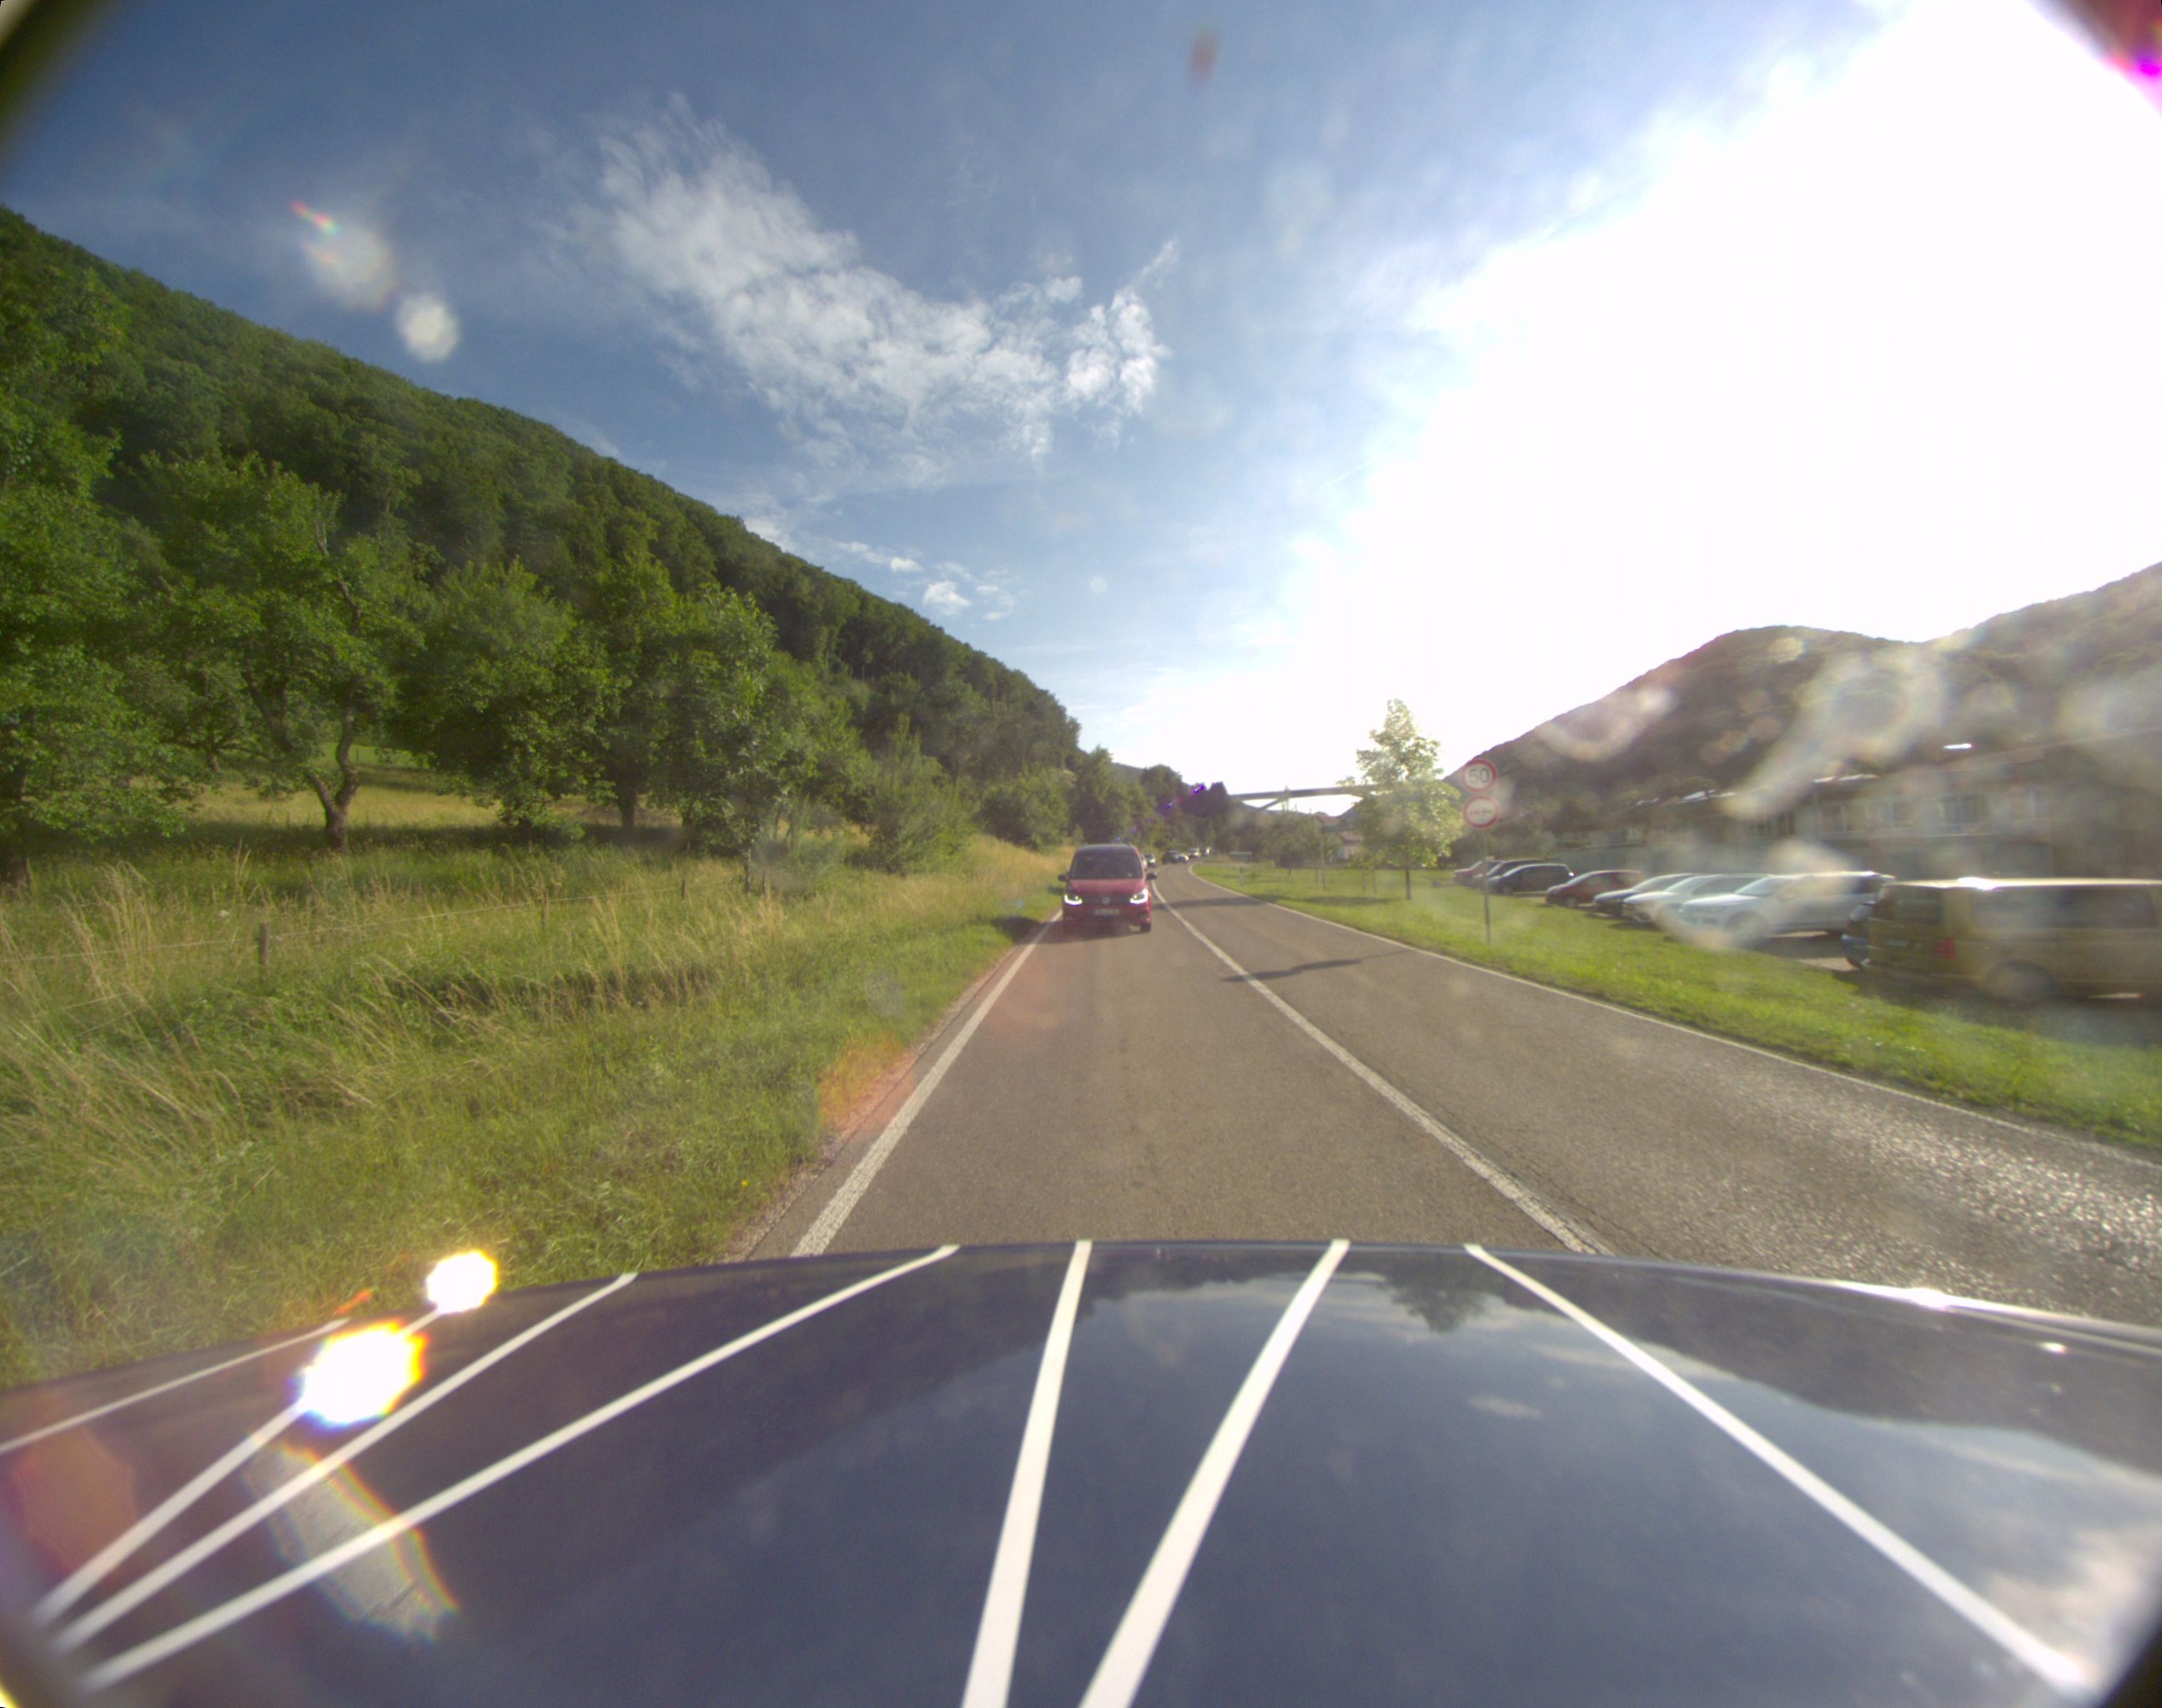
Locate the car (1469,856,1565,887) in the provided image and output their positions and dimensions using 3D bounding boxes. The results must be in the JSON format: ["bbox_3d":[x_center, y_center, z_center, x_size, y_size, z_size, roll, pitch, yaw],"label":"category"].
[{"bbox_3d":[26.113,1.069,45.697,4.666,1.752,2.003,-1,0,17],"label":"car"}]

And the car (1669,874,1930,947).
[{"bbox_3d":[18.574,1.429,19.933,4.545,1.691,2.003,-1,0,18],"label":"car"}]

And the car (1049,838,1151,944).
[{"bbox_3d":[0.536,0.687,15.848,1.746,1.848,4.350,-2,-1,5],"label":"car"}]

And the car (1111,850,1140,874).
[{"bbox_3d":[3.433,0.639,59.288,1.902,1.717,4.000,-2,-1,-1],"label":"car"}]

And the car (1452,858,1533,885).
[{"bbox_3d":[27.427,1.182,50.765,4.438,1.709,2.003,-1,0,17],"label":"car"}]

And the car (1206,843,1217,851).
[{"bbox_3d":[28.153,-1.437,163.539,1.996,1.707,4.004,-1,0,13],"label":"car"}]

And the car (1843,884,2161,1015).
[{"bbox_3d":[15.649,1.433,12.027,4.653,1.802,2.003,-1,0,18],"label":"car"}]

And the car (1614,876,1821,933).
[{"bbox_3d":[19.353,1.511,23.354,4.437,1.577,2.003,-1,0,18],"label":"car"}]

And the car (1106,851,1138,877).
[{"bbox_3d":[2.565,0.631,48.285,1.693,1.539,4.000,-2,-1,-1],"label":"car"}]

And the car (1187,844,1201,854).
[{"bbox_3d":[20.686,-0.956,138.993,1.796,1.725,4.289,-2,-1,19],"label":"car"}]

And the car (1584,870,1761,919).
[{"bbox_3d":[20.469,1.405,26.542,4.438,1.573,2.003,-1,0,16],"label":"car"}]

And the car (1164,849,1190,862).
[{"bbox_3d":[12.397,0.191,98.319,2.000,1.518,4.769,-1,0,-11],"label":"car"}]

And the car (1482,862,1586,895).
[{"bbox_3d":[24.445,1.316,41.184,4.438,1.573,2.003,-2,0,17],"label":"car"}]

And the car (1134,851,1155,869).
[{"bbox_3d":[6.846,0.679,82.447,1.998,1.838,4.000,-1,0,0],"label":"car"}]

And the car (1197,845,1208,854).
[{"bbox_3d":[24.316,-0.947,152.117,1.676,1.637,3.350,-2,-1,17],"label":"car"}]

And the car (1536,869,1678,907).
[{"bbox_3d":[21.622,1.405,31.452,4.437,1.443,2.003,-1,0,18],"label":"car"}]

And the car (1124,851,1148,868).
[{"bbox_3d":[4.952,0.494,68.745,1.799,1.464,4.283,-2,-1,-1],"label":"car"}]
